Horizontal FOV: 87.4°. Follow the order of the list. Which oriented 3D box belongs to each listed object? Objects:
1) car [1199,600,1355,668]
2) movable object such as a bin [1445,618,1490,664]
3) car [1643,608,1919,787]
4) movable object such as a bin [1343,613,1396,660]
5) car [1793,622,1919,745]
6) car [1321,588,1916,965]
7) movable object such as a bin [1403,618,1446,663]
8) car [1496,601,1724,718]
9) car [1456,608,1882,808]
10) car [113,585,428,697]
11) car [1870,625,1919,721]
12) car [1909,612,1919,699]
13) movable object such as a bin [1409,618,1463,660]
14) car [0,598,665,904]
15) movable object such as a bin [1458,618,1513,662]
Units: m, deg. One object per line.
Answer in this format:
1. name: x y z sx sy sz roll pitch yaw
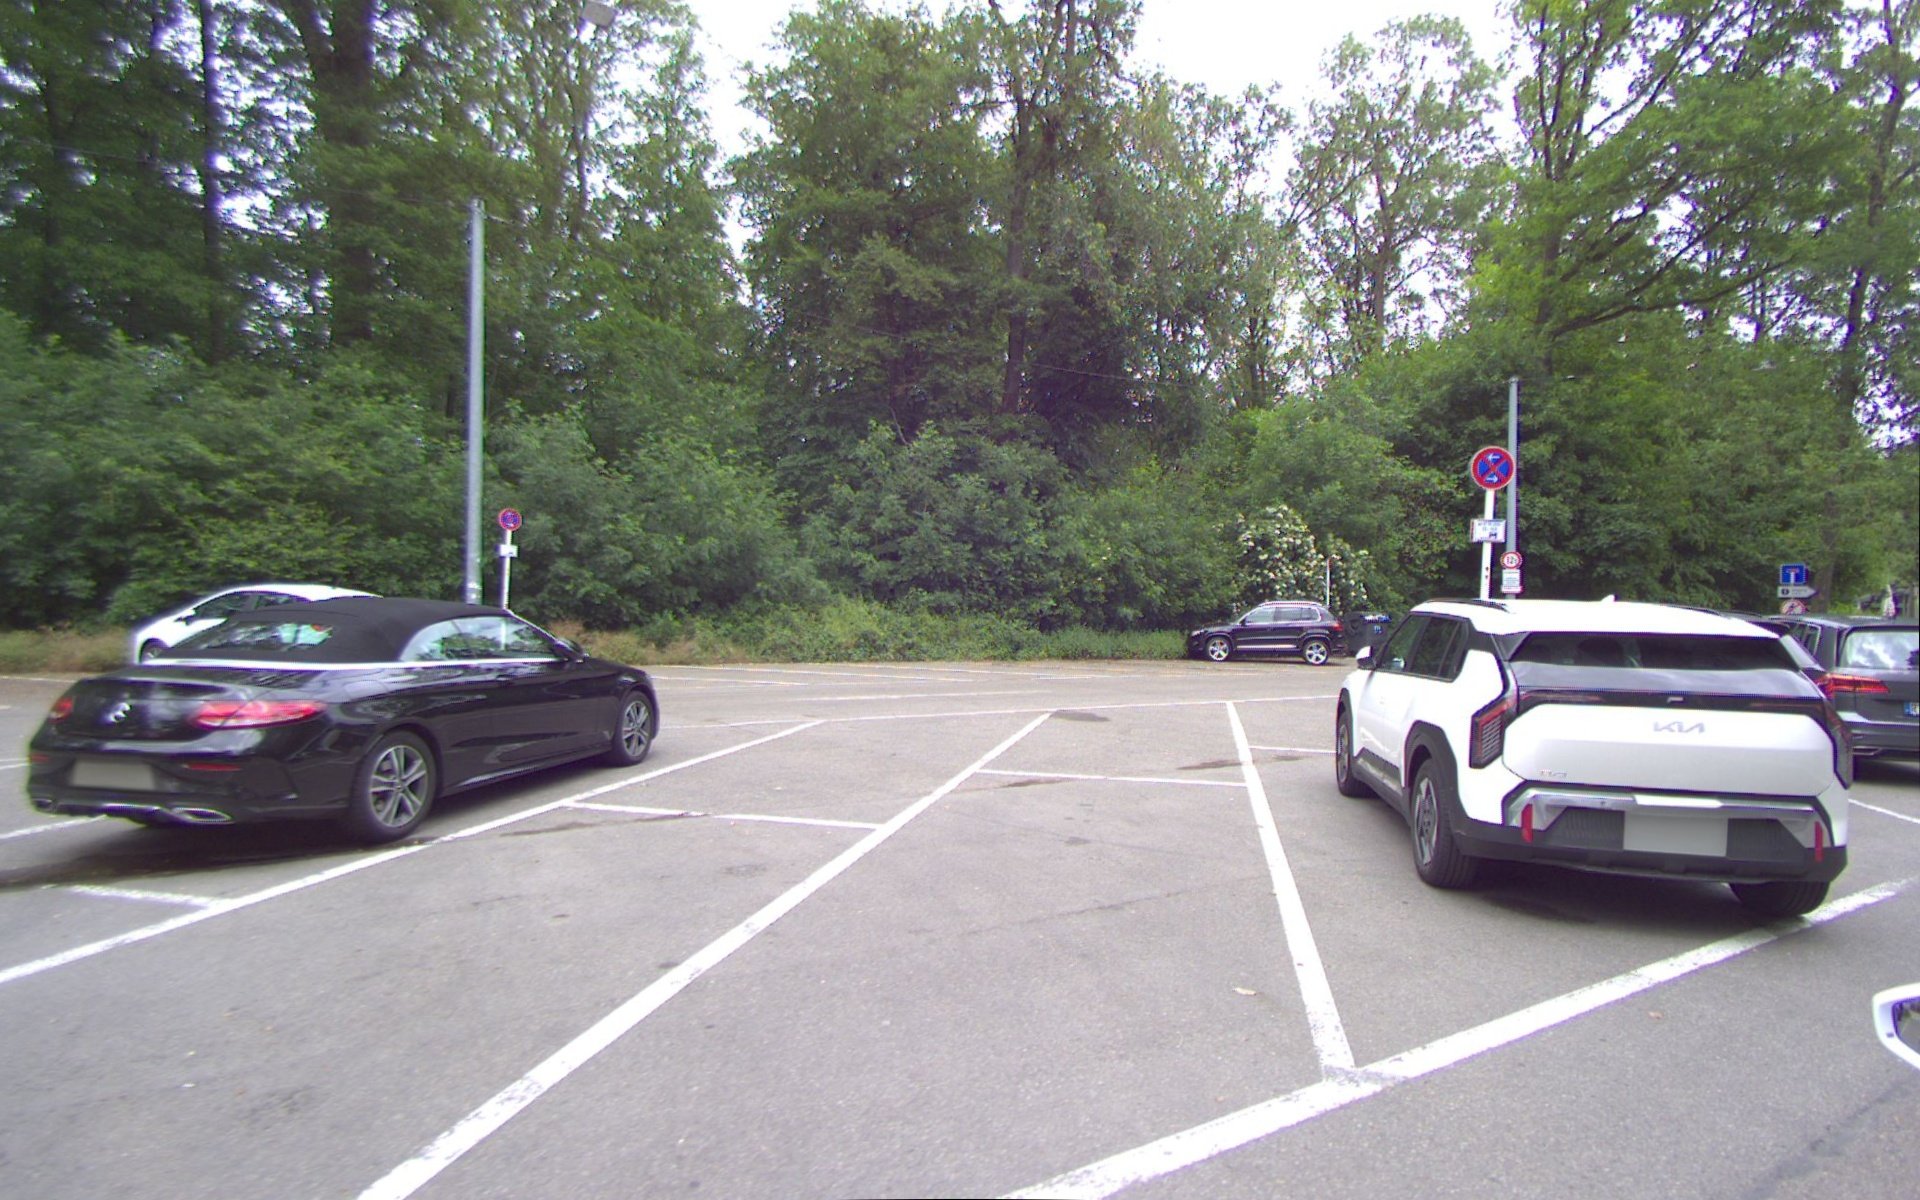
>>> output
1. car: 8.761 0.909 28.052 3.989 1.707 1.881 1 0 15
2. movable object such as a bin: 15.316 1.226 30.322 1.151 1.324 1.311 1 0 29
3. car: 9.365 0.905 10.987 1.810 1.608 3.979 1 0 13
4. movable object such as a bin: 13.010 1.140 31.925 1.116 1.444 1.119 1 0 -28
5. car: 12.847 1.068 12.945 1.737 1.462 3.848 1 0 14
6. car: 3.657 0.778 6.589 1.809 1.618 4.192 1 0 11
7. movable object such as a bin: 14.312 1.221 30.940 1.107 1.332 1.182 1 0 29
8. car: 10.682 0.885 16.880 1.860 1.685 4.002 1 0 12
9. car: 6.728 0.882 10.158 1.835 1.575 4.002 1 0 7
10. car: -10.535 0.570 15.433 3.919 1.531 1.871 1 0 15
11. car: 15.548 1.150 14.421 1.724 1.462 4.281 1 0 12
12. car: 18.541 1.052 16.852 1.792 1.630 4.390 1 0 12
13. movable object such as a bin: 15.434 1.254 32.578 1.228 1.337 1.116 1 0 -36
14. car: -3.992 0.750 7.159 1.831 1.461 4.319 1 0 11
15. movable object such as a bin: 16.823 1.276 32.157 1.138 1.342 1.241 1 0 -43
